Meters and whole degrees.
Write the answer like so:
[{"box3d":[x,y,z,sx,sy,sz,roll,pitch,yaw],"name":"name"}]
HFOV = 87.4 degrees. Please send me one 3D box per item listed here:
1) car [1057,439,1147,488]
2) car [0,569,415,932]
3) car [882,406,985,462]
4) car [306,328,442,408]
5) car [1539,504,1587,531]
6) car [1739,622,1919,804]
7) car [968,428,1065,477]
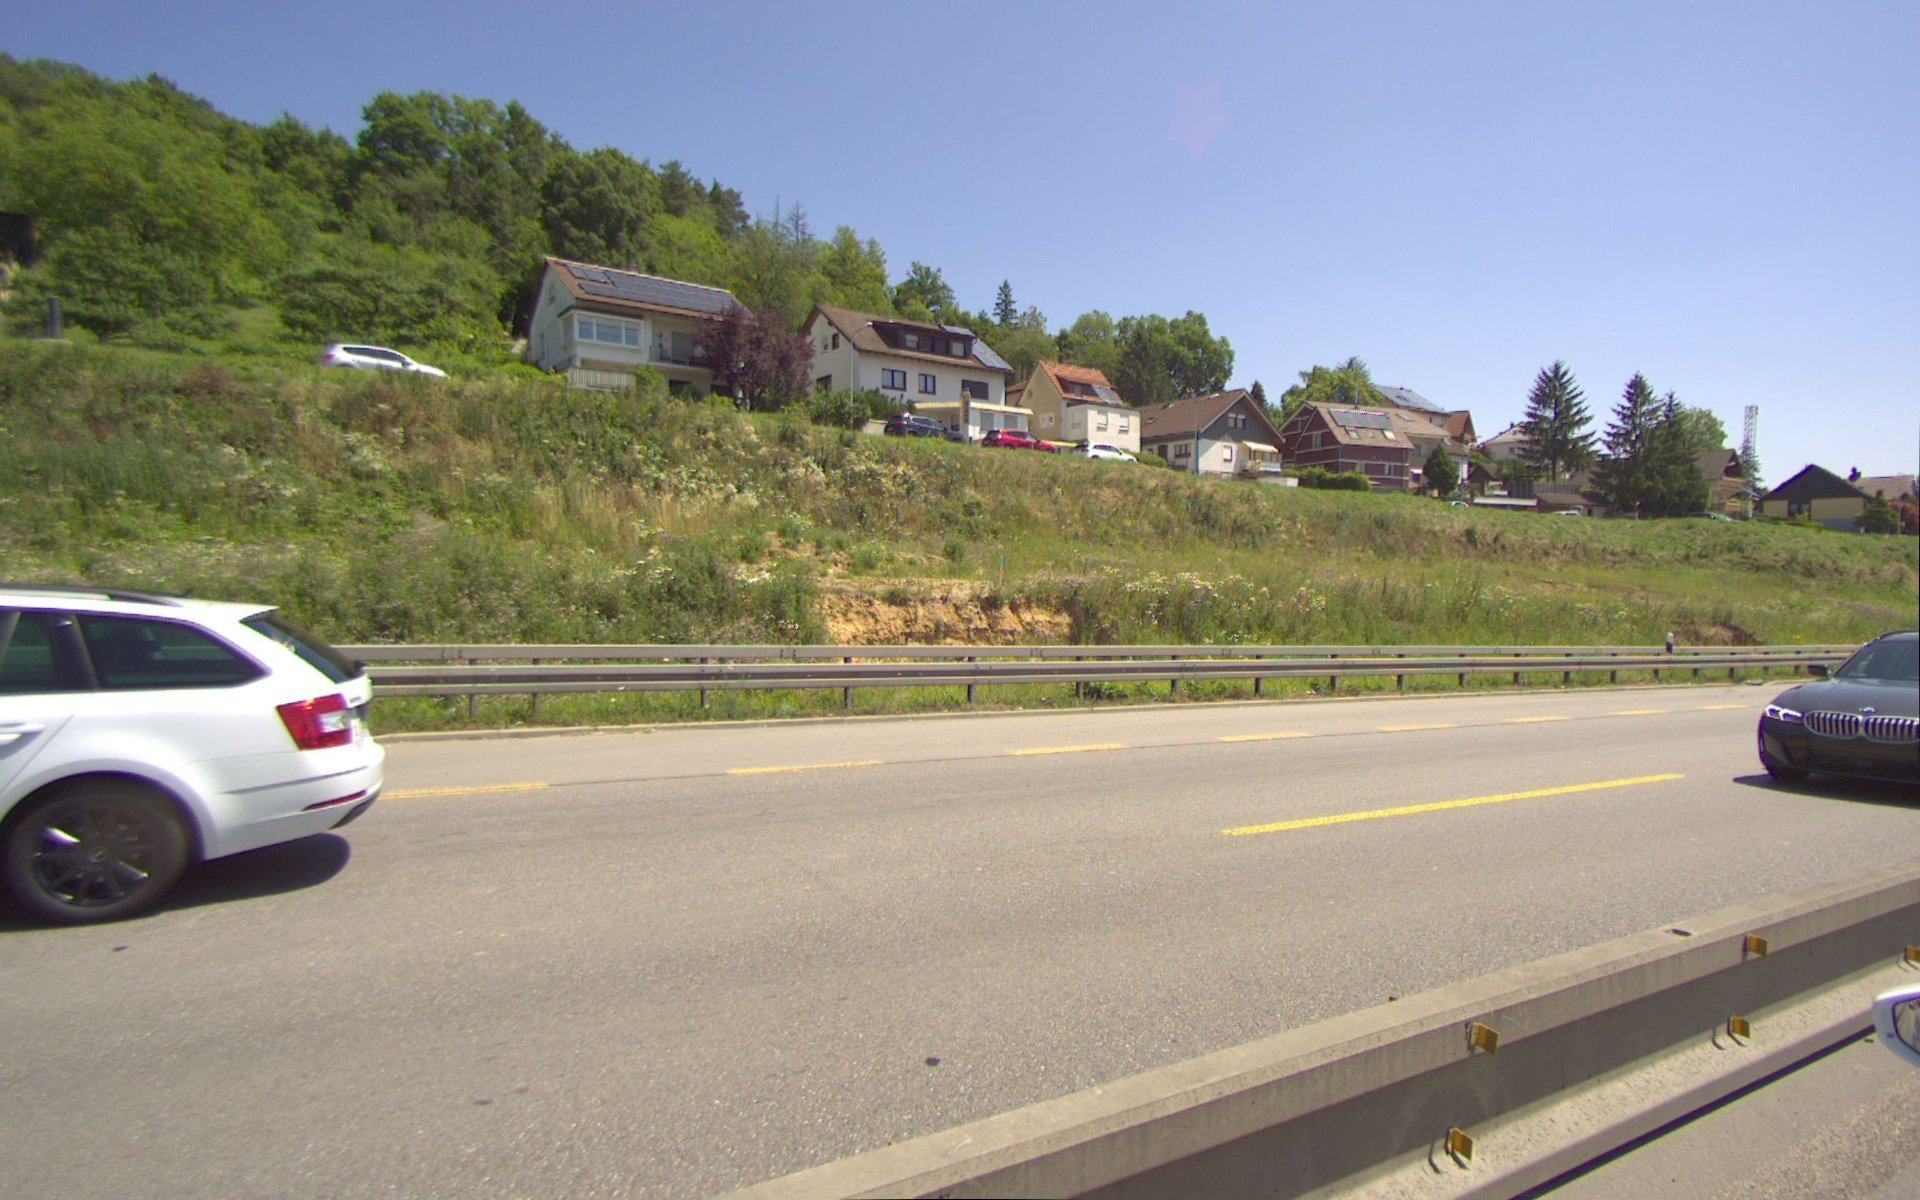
[{"box3d":[8.187,-7.816,57.910,4.768,2.068,2.334,3,-1,-33],"name":"car"},{"box3d":[-5.114,0.619,4.578,4.547,1.517,1.794,1,-1,-32],"name":"car"},{"box3d":[-1.278,-8.149,49.665,4.720,1.817,2.162,3,-1,-37],"name":"car"},{"box3d":[-20.853,-8.183,35.788,3.963,1.817,1.979,3,-1,-37],"name":"car"},{"box3d":[56.679,-7.724,94.373,3.946,2.040,1.988,3,-1,-25],"name":"car"},{"box3d":[9.541,0.986,9.673,4.305,1.485,1.789,2,-1,-31],"name":"car"},{"box3d":[3.061,-7.906,54.353,4.752,1.817,2.333,3,-1,-34],"name":"car"}]
